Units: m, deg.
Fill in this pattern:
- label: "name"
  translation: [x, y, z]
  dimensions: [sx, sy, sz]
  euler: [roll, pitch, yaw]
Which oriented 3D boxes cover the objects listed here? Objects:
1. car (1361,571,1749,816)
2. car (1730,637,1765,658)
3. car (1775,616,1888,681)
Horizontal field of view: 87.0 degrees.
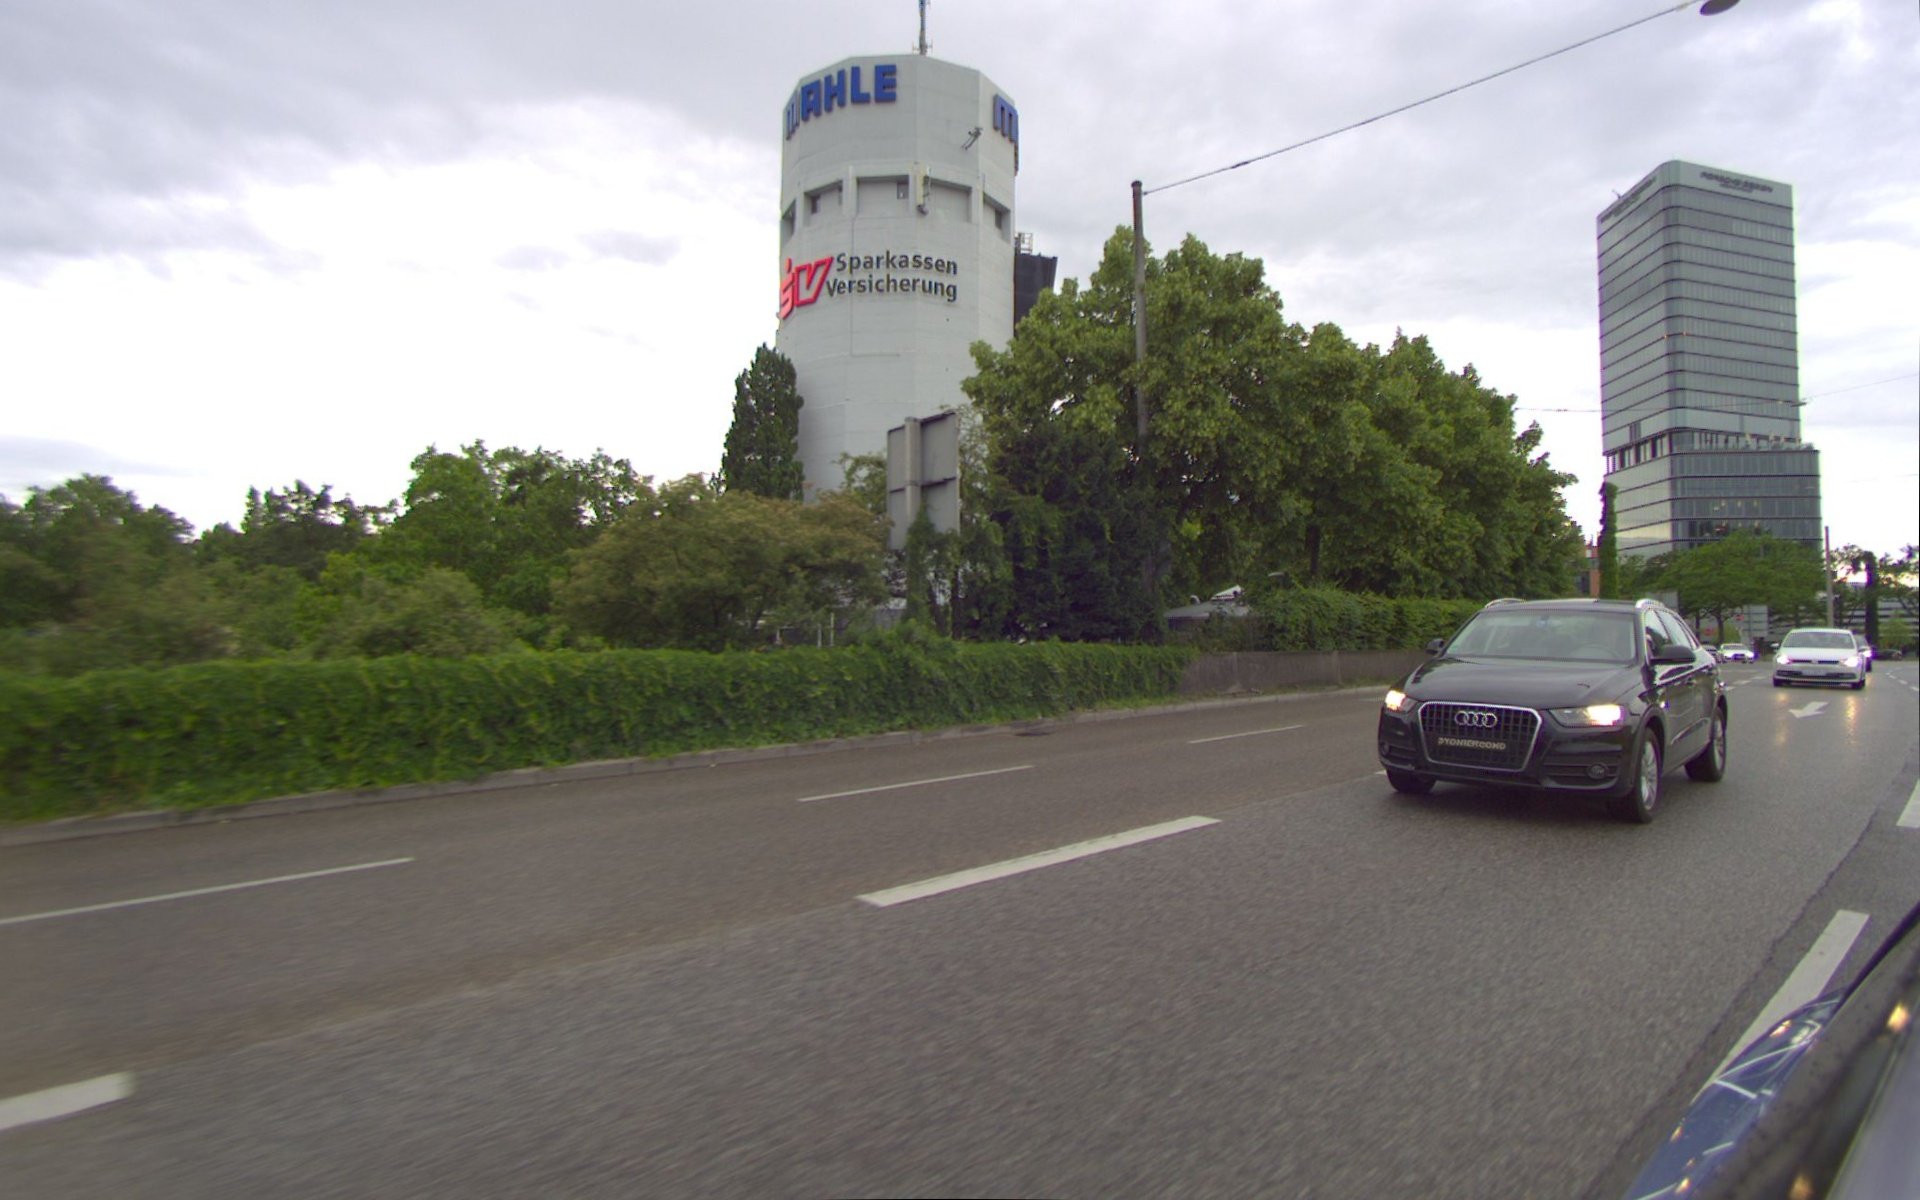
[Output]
- label: "car"
  translation: [5.130, 0.663, 8.490]
  dimensions: [4.057, 1.554, 1.726]
  euler: [2, -3, -44]
- label: "car"
  translation: [55.948, 3.347, 71.903]
  dimensions: [1.630, 1.495, 3.619]
  euler: [-2, -3, 43]
- label: "car"
  translation: [21.658, 1.194, 25.101]
  dimensions: [4.193, 1.492, 1.726]
  euler: [2, -4, -45]
